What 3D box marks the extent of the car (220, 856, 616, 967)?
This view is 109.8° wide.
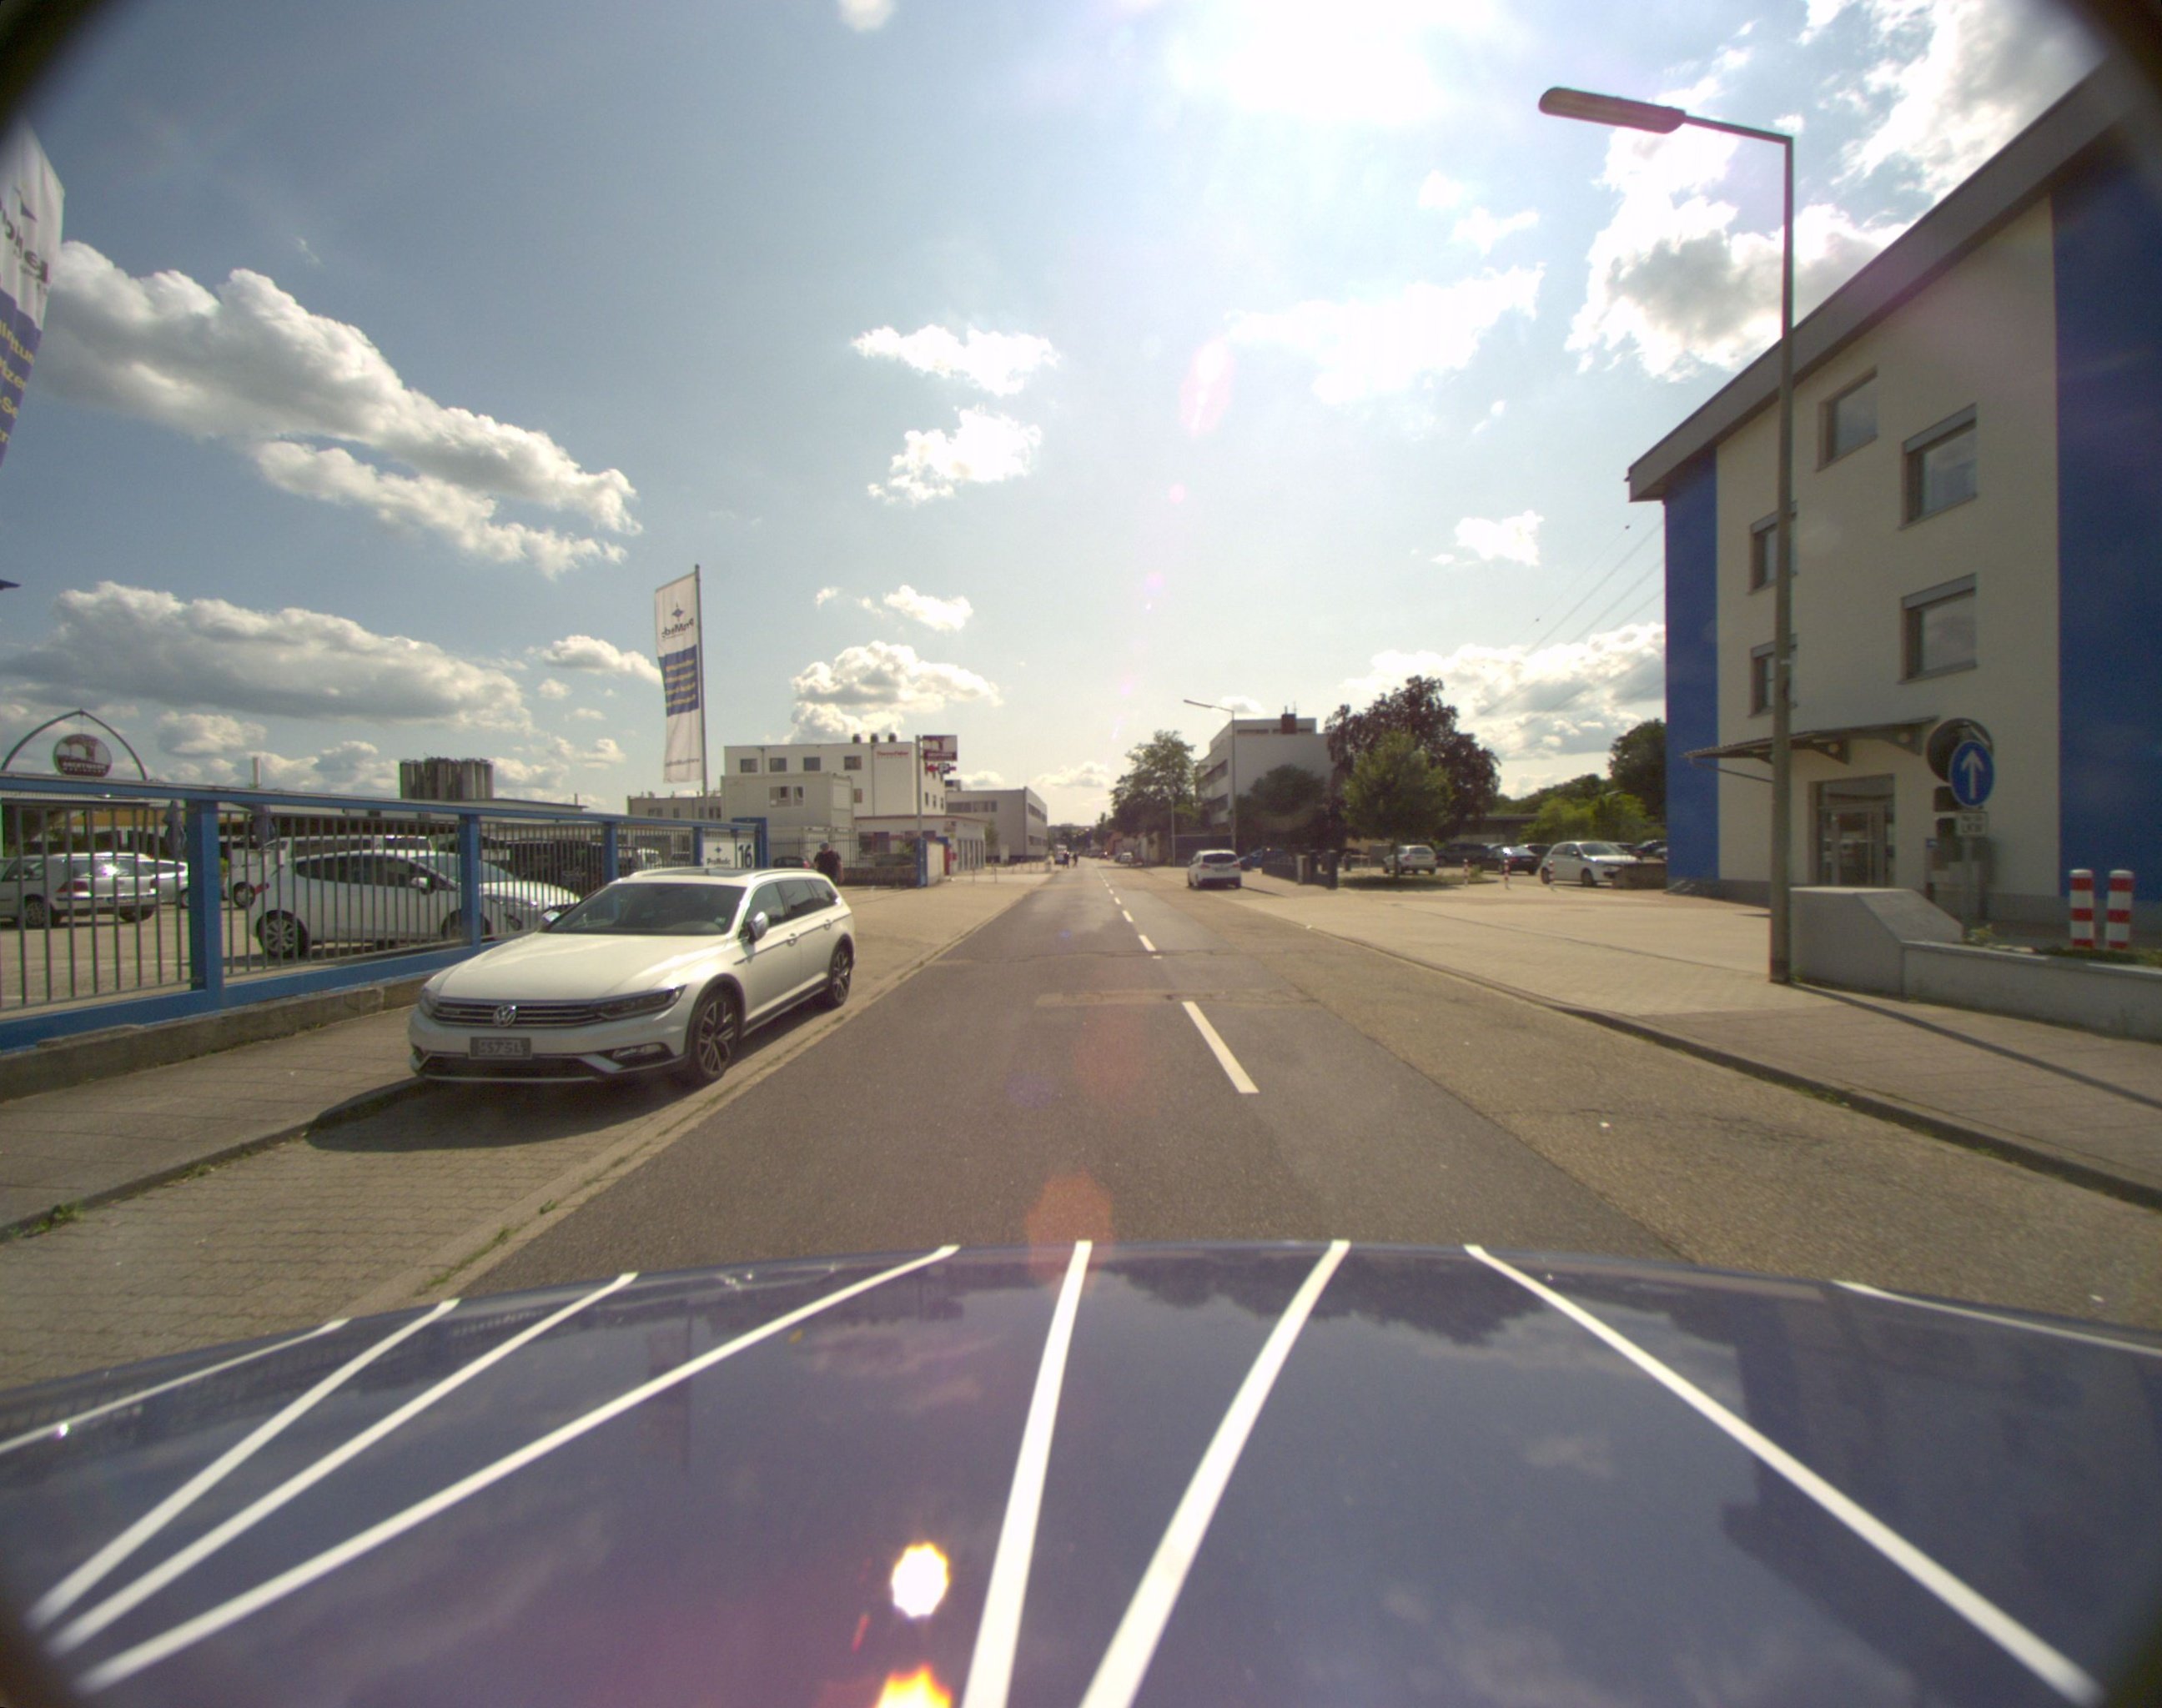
[{"bbox_3d":[-9.394,0.767,11.061,3.997,1.412,2.000,-1,1,1],"label":"car"}]

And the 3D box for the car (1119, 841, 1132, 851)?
[{"bbox_3d":[6.923,-1.197,117.667,1.677,1.447,4.223,-3,1,0],"label":"car"}]

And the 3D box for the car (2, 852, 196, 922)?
[{"bbox_3d":[-28.500,0.888,22.205,1.417,1.758,3.161,-4,1,-1],"label":"car"}]

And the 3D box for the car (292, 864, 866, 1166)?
[{"bbox_3d":[-3.496,0.951,6.619,1.872,1.512,4.597,-2,1,0],"label":"car"}]

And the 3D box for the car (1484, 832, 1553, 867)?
[{"bbox_3d":[22.562,-0.249,39.343,1.876,1.698,3.480,-1,1,7],"label":"car"}]

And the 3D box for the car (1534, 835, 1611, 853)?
[{"bbox_3d":[34.633,-0.708,53.622,4.207,1.220,1.830,-1,1,5],"label":"car"}]

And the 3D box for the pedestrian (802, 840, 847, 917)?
[{"bbox_3d":[-6.015,0.559,17.847,0.771,1.746,0.787,1,2,0],"label":"pedestrian"}]

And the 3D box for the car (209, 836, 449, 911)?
[{"bbox_3d":[-21.566,0.535,21.957,4.690,1.925,2.276,-2,1,2],"label":"car"}]

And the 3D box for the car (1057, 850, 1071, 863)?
[{"bbox_3d":[-2.345,0.297,104.459,1.663,1.549,4.177,-4,1,1],"label":"car"}]

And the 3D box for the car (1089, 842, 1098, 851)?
[{"bbox_3d":[3.689,-2.121,222.757,1.999,2.556,5.822,-4,1,-2],"label":"car"}]

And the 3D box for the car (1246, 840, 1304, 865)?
[{"bbox_3d":[13.629,-0.114,53.518,3.657,1.699,1.878,-1,1,0],"label":"car"}]

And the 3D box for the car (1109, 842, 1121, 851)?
[{"bbox_3d":[5.812,-1.357,129.870,1.677,1.447,4.223,-3,1,0],"label":"car"}]

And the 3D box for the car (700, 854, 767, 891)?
[{"bbox_3d":[-14.432,0.729,31.769,1.956,1.369,3.994,-1,1,-16],"label":"car"}]

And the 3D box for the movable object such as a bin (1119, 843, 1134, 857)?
[{"bbox_3d":[6.564,-0.633,110.109,1.618,1.908,5.137,-5,1,0],"label":"movable object such as a bin"}]

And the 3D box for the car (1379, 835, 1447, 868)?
[{"bbox_3d":[17.447,-0.170,40.212,1.828,1.627,4.845,-1,1,5],"label":"car"}]

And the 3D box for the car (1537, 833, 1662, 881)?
[{"bbox_3d":[17.589,0.058,25.990,1.877,1.498,3.758,-1,1,4],"label":"car"}]

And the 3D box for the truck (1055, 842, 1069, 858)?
[{"bbox_3d":[-4.206,-0.833,166.962,2.608,3.207,8.073,-4,1,-5],"label":"truck"}]

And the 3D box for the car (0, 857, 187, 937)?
[{"bbox_3d":[-21.568,0.834,15.812,3.891,1.478,1.864,0,2,4],"label":"car"}]

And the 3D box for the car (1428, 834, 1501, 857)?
[{"bbox_3d":[26.441,-0.597,52.524,4.207,1.493,1.681,-1,1,5],"label":"car"}]

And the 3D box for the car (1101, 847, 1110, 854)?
[{"bbox_3d":[5.259,-0.746,166.114,1.714,1.459,4.628,-4,1,-1],"label":"car"}]

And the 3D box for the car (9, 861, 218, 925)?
[{"bbox_3d":[-25.700,0.985,20.363,1.417,1.395,3.162,-4,1,1],"label":"car"}]

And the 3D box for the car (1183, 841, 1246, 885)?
[{"bbox_3d":[5.769,0.315,33.361,1.872,1.698,4.752,-2,1,0],"label":"car"}]

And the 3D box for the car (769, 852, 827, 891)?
[{"bbox_3d":[-11.642,0.671,31.449,1.746,1.433,3.828,-1,1,-13],"label":"car"}]

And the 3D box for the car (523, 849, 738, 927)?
[{"bbox_3d":[-9.295,0.663,15.886,3.412,1.482,1.791,1,1,0],"label":"car"}]

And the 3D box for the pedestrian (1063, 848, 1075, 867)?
[{"bbox_3d":[-1.307,0.371,82.590,0.994,1.940,1.089,-1,1,-22],"label":"pedestrian"}]

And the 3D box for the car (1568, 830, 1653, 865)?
[{"bbox_3d":[27.461,-0.381,39.549,1.876,1.698,4.068,-1,1,5],"label":"car"}]

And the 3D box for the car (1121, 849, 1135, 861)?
[{"bbox_3d":[6.498,0.095,104.829,1.677,1.447,4.513,-3,1,1],"label":"car"}]

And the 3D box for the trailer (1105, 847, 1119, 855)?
[{"bbox_3d":[5.941,-0.599,147.226,2.457,1.157,6.051,-3,1,0],"label":"trailer"}]

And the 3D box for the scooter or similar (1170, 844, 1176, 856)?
[{"bbox_3d":[10.206,-0.410,84.423,0.483,1.272,1.360,-4,1,1],"label":"scooter or similar"}]

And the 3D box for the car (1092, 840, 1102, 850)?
[{"bbox_3d":[4.088,-2.377,197.781,2.079,2.527,5.822,-4,1,-2],"label":"car"}]

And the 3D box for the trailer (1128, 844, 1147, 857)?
[{"bbox_3d":[6.585,-0.426,88.692,1.771,1.431,4.335,-4,1,1],"label":"trailer"}]

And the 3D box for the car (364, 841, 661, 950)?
[{"bbox_3d":[-9.897,0.679,13.464,3.816,1.671,1.791,-2,1,0],"label":"car"}]

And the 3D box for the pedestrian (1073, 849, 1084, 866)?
[{"bbox_3d":[-0.283,0.347,82.744,0.860,1.797,1.003,-1,1,-22],"label":"pedestrian"}]
